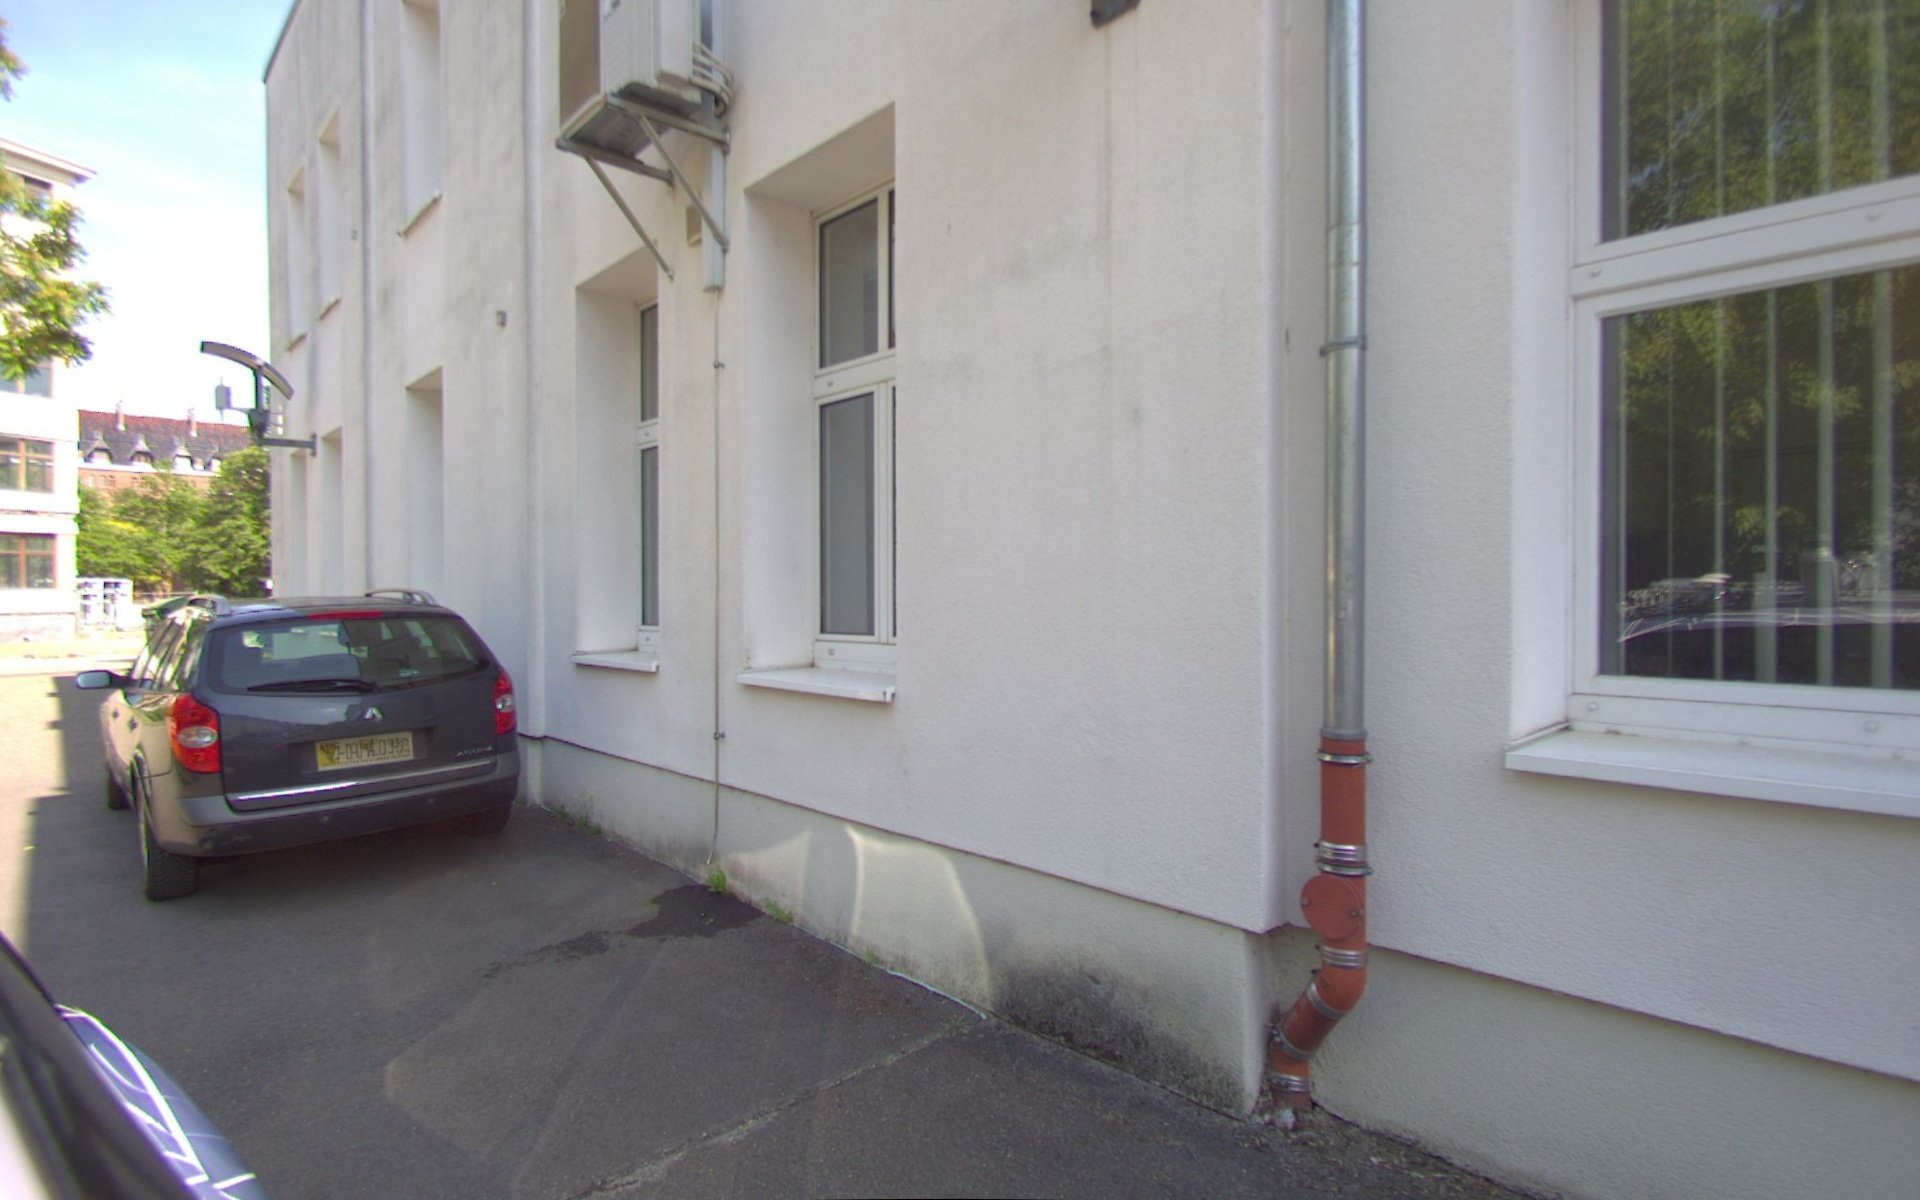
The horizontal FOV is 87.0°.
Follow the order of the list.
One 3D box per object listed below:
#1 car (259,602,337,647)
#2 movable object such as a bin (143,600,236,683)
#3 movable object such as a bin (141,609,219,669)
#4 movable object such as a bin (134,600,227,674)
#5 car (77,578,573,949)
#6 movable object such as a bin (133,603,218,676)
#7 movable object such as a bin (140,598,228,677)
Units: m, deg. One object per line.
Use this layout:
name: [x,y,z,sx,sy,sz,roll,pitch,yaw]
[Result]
car: [-28.639,1.003,43.913,1.889,1.794,4.326,-2,0,-21]
movable object such as a bin: [-14.078,0.730,18.490,1.229,1.442,1.351,0,-1,-43]
movable object such as a bin: [-19.016,0.921,24.708,1.226,1.407,1.409,0,0,-25]
movable object such as a bin: [-15.949,0.726,20.714,1.221,1.442,1.233,-1,0,37]
car: [-4.258,0.629,6.407,1.815,1.452,4.435,-4,4,-43]
movable object such as a bin: [-16.876,0.818,21.775,1.339,1.492,1.231,-1,-1,42]
movable object such as a bin: [-15.064,0.699,19.641,1.229,1.442,1.367,0,-1,-43]
